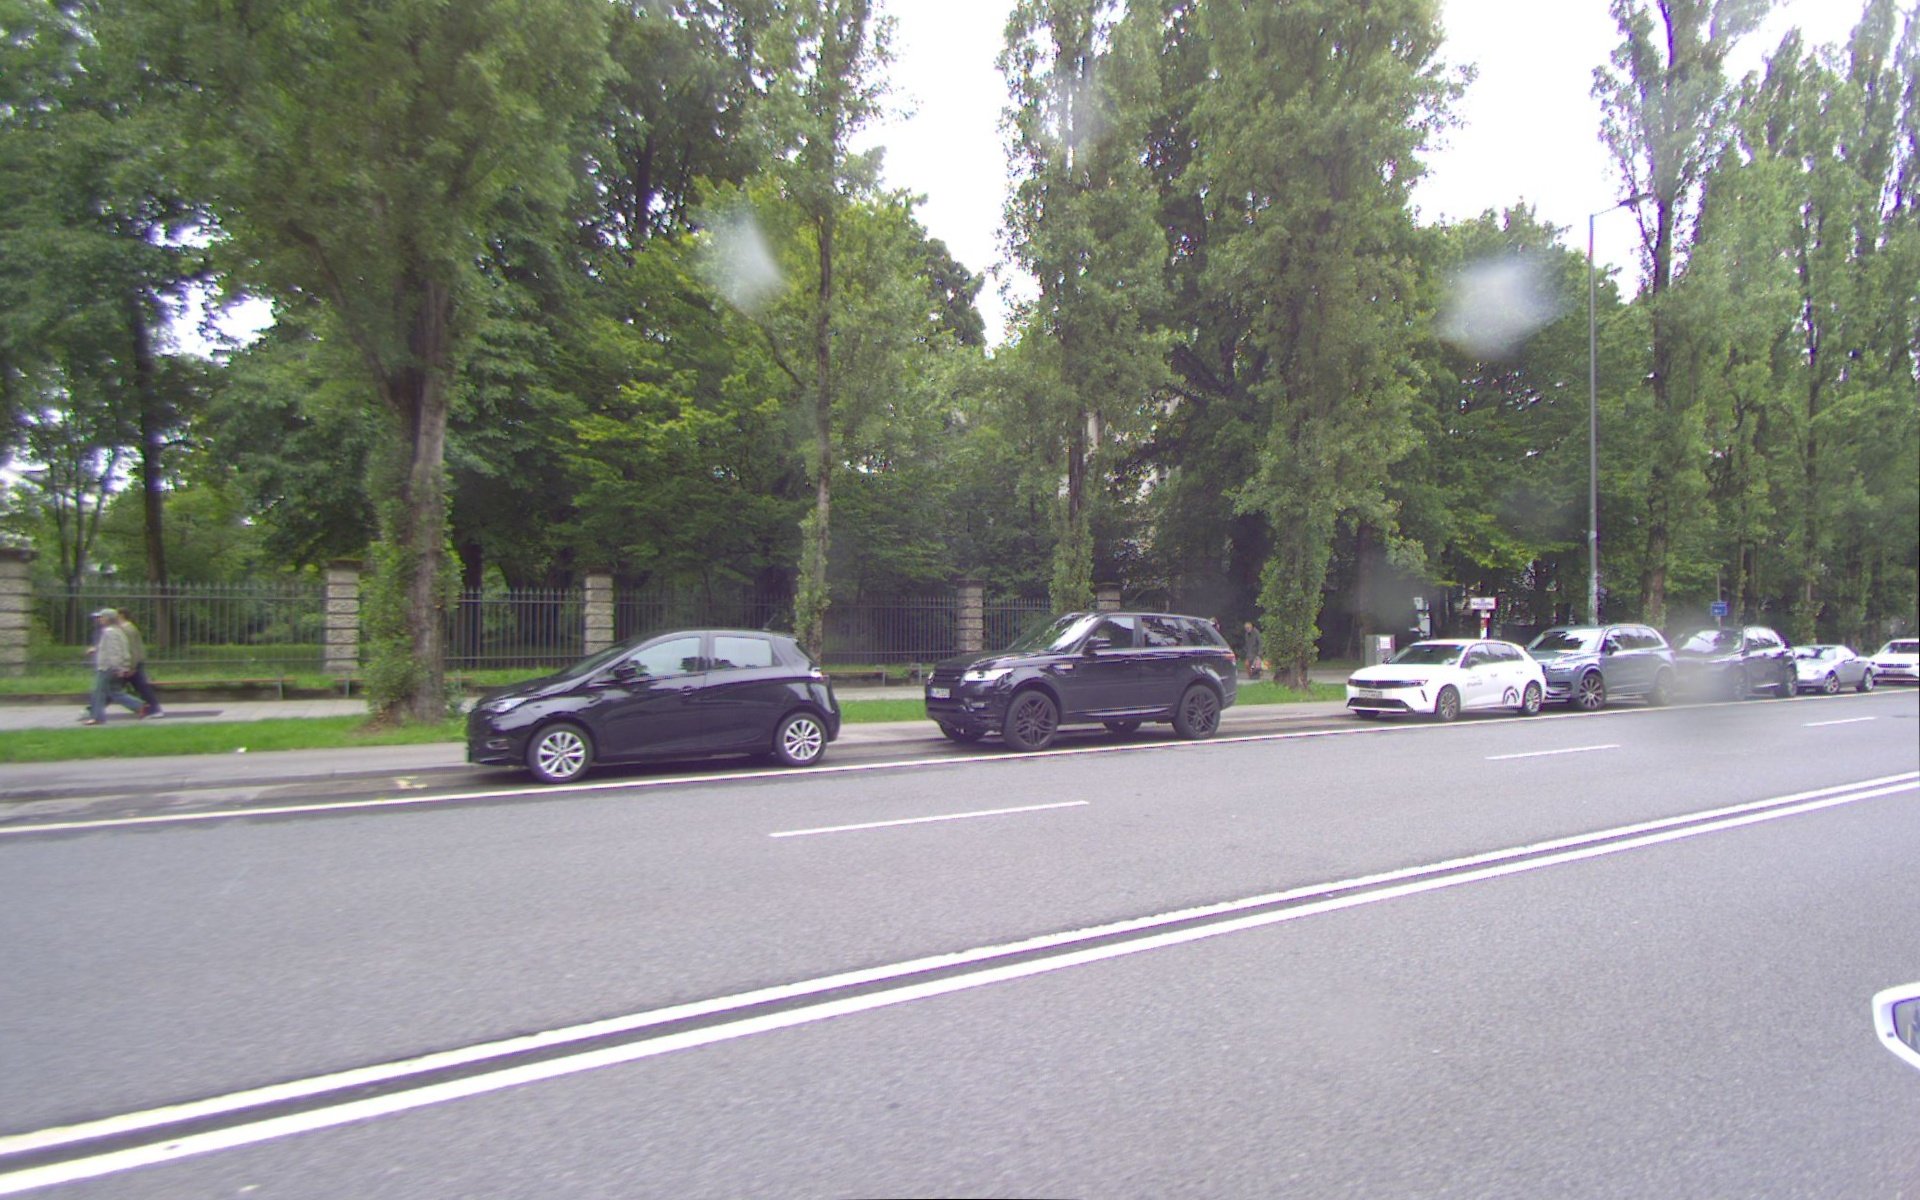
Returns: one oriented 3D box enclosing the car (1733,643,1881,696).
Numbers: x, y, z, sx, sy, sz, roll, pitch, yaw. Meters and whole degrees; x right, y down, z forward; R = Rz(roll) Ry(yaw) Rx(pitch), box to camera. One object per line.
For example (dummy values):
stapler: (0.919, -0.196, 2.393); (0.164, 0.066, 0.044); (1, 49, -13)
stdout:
car: (23.091, 1.862, 27.363); (4.185, 1.351, 1.818); (1, -4, -31)

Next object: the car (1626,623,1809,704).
car: (18.473, 1.528, 24.440); (4.842, 1.790, 1.931); (2, -4, -32)

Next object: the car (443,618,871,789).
car: (-3.382, 1.068, 11.400); (4.337, 1.604, 1.936); (1, -3, -30)

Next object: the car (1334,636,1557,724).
car: (9.058, 1.433, 18.653); (4.224, 1.478, 1.696); (2, -4, -31)

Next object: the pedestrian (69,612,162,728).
pedestrian: (-11.874, 0.958, 14.151); (0.866, 1.569, 0.714); (1, -1, -32)

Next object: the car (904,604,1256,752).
car: (1.759, 1.065, 14.367); (4.743, 1.809, 2.037); (2, -4, -30)

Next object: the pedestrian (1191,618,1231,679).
pedestrian: (7.302, 1.403, 29.231); (0.946, 1.764, 0.663); (1, -1, -30)

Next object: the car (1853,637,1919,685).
car: (30.442, 1.933, 32.067); (4.187, 1.471, 1.761); (2, -4, -32)

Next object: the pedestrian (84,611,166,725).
pedestrian: (-12.267, 0.979, 14.777); (0.804, 1.626, 0.714); (1, -1, -32)

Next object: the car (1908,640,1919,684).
car: (33.937, 2.076, 34.067); (3.546, 1.470, 1.700); (2, -4, -32)

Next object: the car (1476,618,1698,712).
car: (13.474, 1.375, 21.502); (5.121, 1.812, 1.900); (2, -4, -31)
